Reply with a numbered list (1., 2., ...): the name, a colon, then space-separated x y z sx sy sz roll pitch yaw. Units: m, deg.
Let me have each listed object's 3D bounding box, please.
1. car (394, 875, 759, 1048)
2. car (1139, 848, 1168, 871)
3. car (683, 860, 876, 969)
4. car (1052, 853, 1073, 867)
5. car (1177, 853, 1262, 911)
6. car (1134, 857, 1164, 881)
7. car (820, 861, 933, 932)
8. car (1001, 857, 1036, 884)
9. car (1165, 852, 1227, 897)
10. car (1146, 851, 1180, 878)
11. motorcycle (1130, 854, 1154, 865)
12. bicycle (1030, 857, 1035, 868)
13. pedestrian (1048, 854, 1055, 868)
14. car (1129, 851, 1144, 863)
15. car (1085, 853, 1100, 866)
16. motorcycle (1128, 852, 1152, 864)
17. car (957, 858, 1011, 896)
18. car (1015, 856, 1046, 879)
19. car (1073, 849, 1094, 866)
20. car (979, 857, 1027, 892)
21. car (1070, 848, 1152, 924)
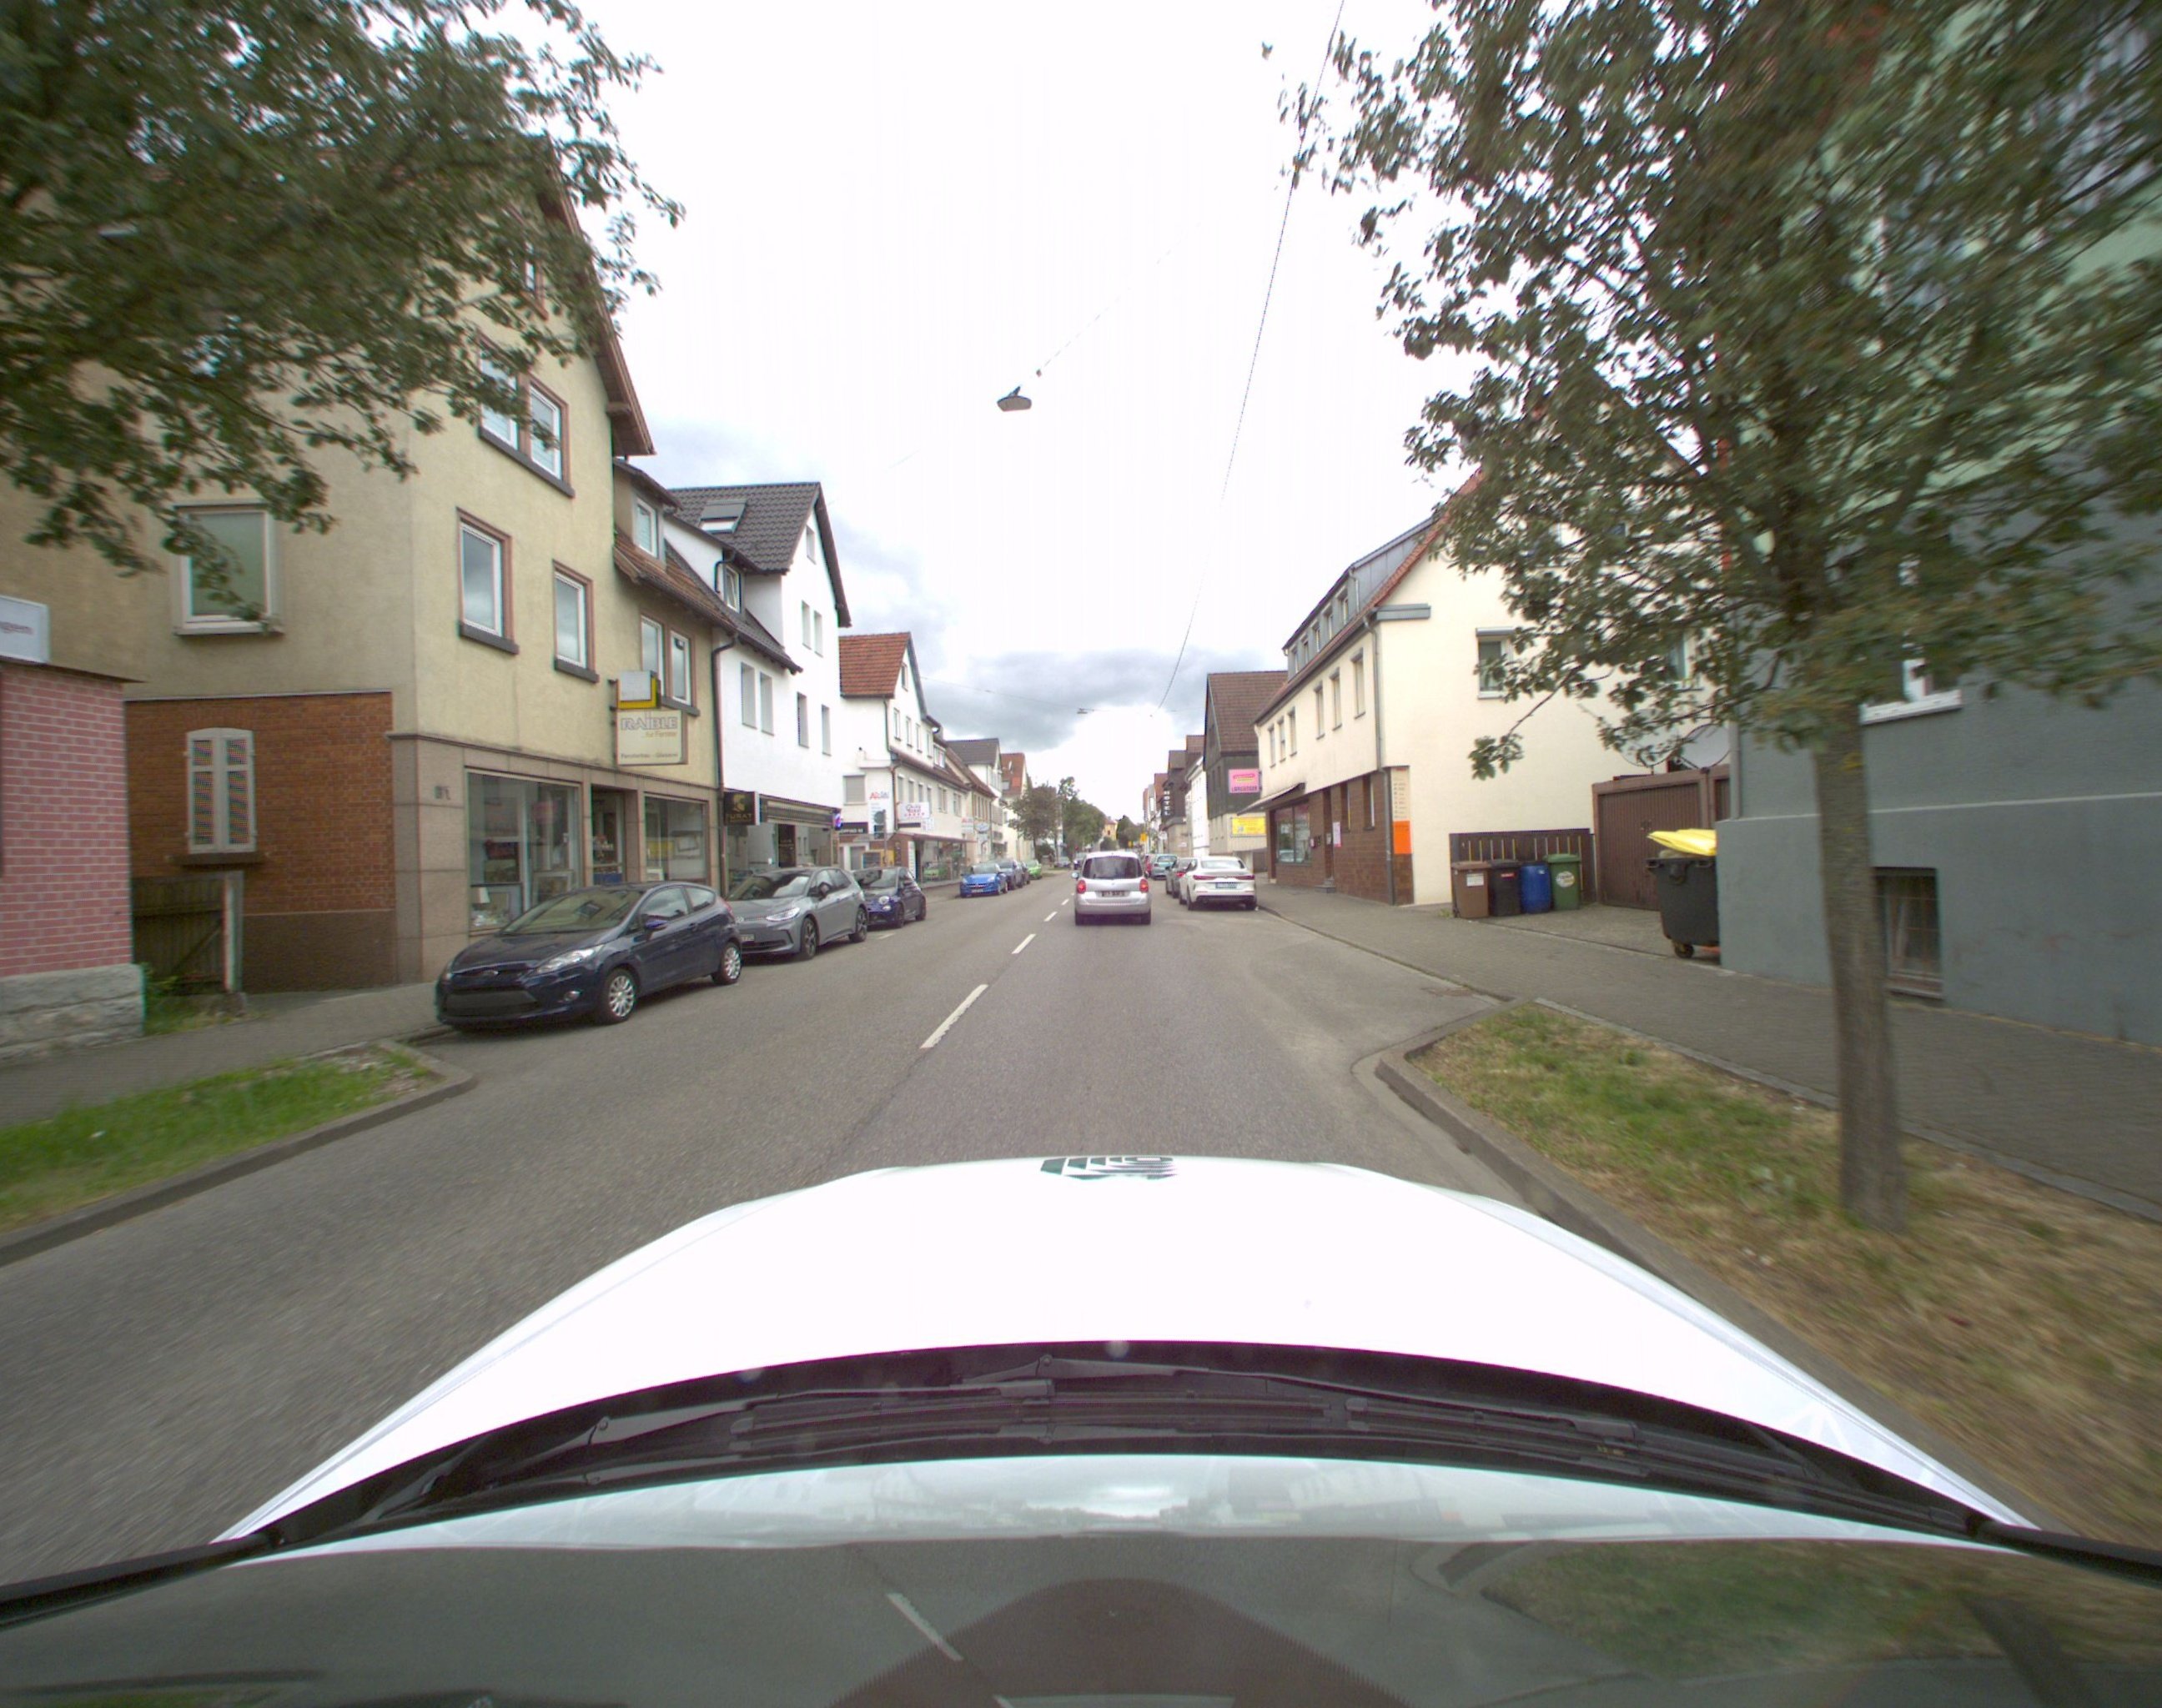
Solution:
1. car: -5.499 1.052 9.579 1.676 1.424 3.932 -4 0 1
2. car: 5.133 0.396 58.402 1.868 1.539 4.516 -1 0 3
3. car: -5.231 0.959 14.775 1.703 1.566 4.116 -4 0 3
4. car: -2.127 0.688 93.265 1.940 1.467 4.519 -4 0 3
5. car: 3.743 0.700 22.622 1.823 1.445 4.335 -1 0 3
6. car: 4.348 0.906 52.425 1.748 1.445 4.458 -1 0 3
7. car: -4.994 0.979 20.352 1.675 1.493 3.594 -4 0 3
8. car: -3.635 0.957 48.236 1.575 1.508 3.815 -1 0 3
9. car: 3.991 0.682 28.810 1.823 1.445 4.113 -1 0 3
10. car: 4.754 0.579 47.634 1.823 1.497 3.996 -1 0 3
11. motorcycle: 6.868 0.561 91.522 2.744 1.183 0.694 -1 0 -28
12. bicycle: -5.306 0.949 89.398 0.513 1.153 1.666 -1 0 -1
13. pedestrian: -3.833 0.928 106.386 0.760 1.791 0.890 -1 0 2
14. car: 6.784 0.401 100.539 1.694 1.467 4.240 -1 0 2
15. car: 1.586 0.748 111.052 1.788 1.578 4.194 -4 0 2
16. motorcycle: 6.733 0.490 92.573 2.723 1.336 0.694 -1 0 -28
17. car: -4.280 0.981 36.424 1.675 1.499 3.778 -4 0 3
18. car: -3.563 0.945 58.068 1.675 1.447 4.023 -4 0 3
19. car: 0.298 0.358 86.752 1.893 1.737 4.369 -4 0 3
20. car: -3.979 1.005 42.318 1.796 1.599 4.307 -4 0 3
21. car: 0.728 0.670 18.923 1.675 1.566 3.996 -1 0 3
